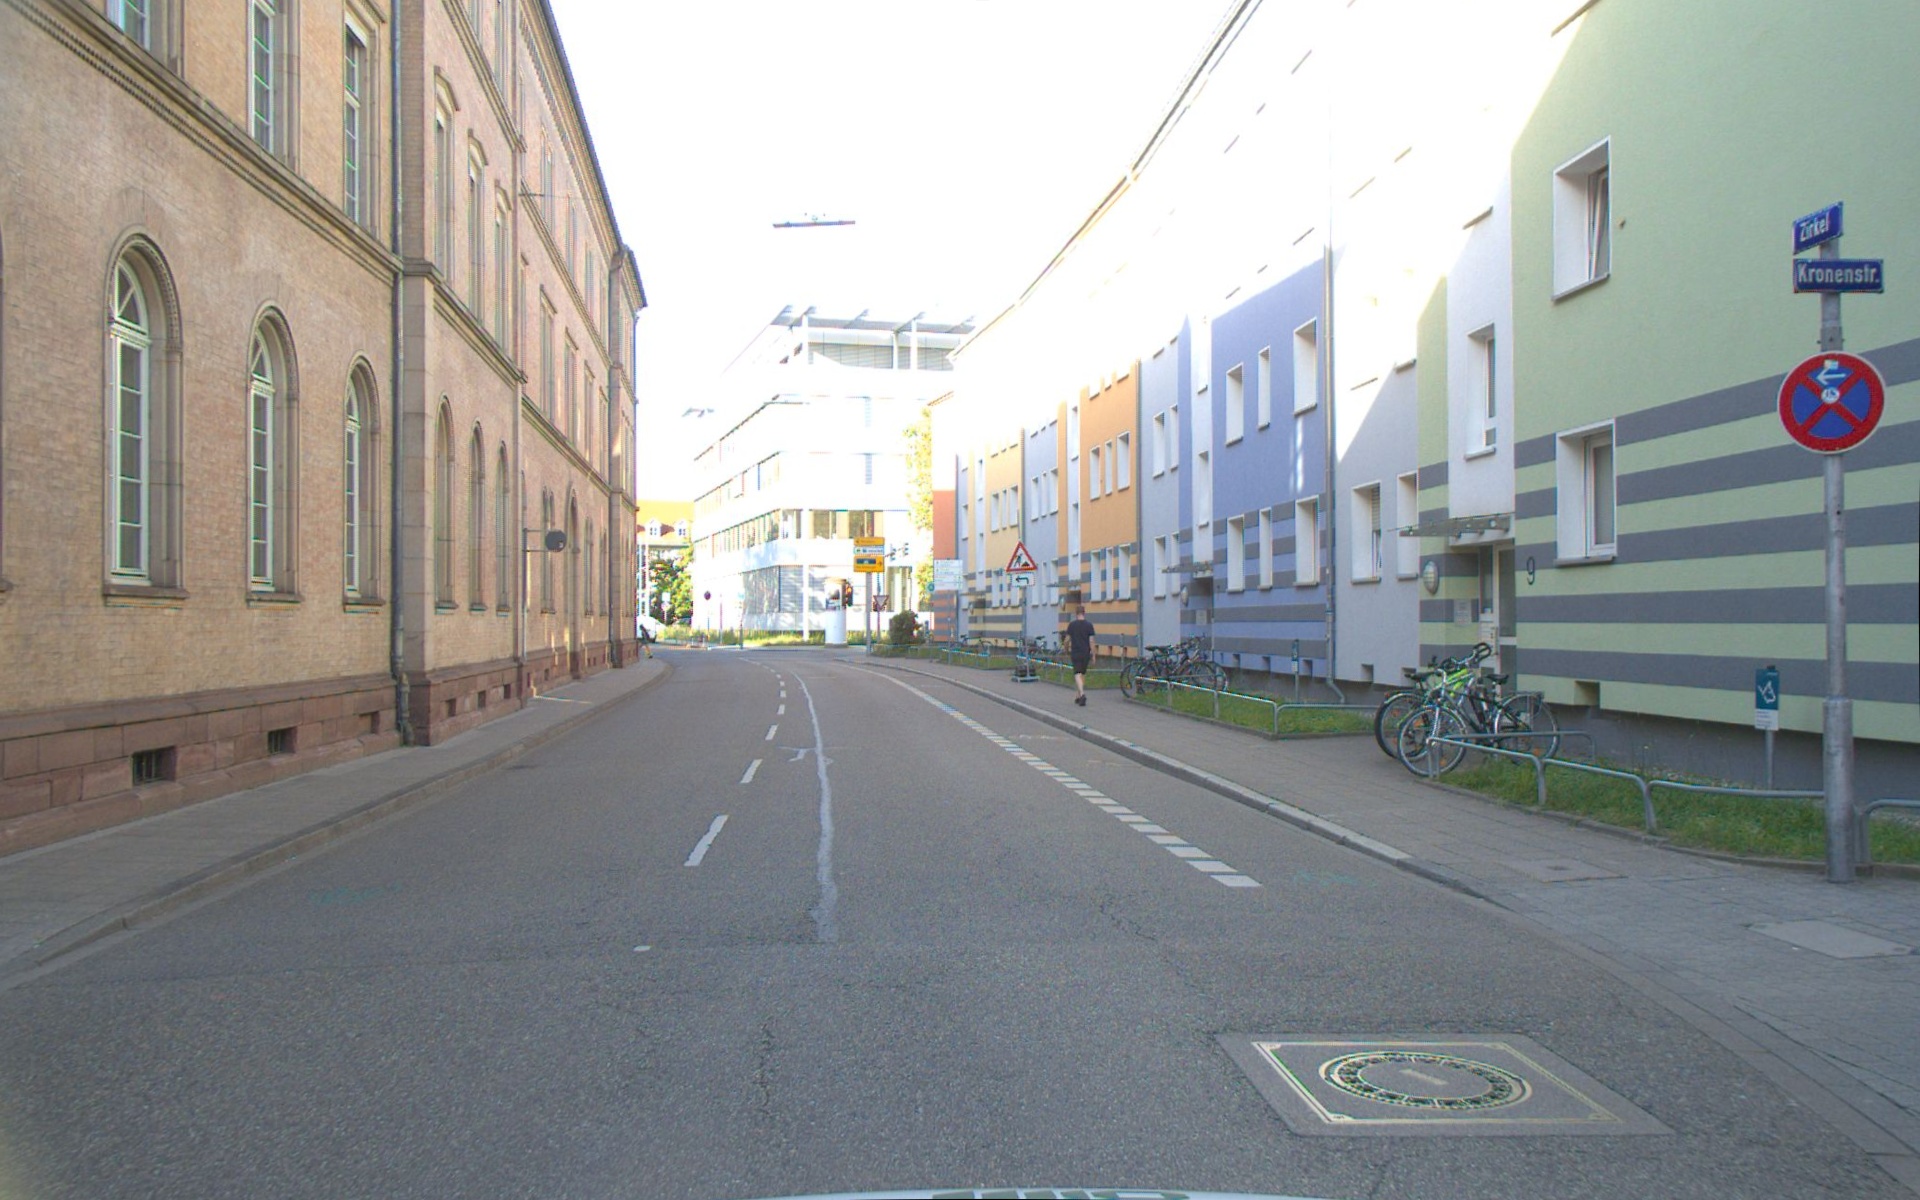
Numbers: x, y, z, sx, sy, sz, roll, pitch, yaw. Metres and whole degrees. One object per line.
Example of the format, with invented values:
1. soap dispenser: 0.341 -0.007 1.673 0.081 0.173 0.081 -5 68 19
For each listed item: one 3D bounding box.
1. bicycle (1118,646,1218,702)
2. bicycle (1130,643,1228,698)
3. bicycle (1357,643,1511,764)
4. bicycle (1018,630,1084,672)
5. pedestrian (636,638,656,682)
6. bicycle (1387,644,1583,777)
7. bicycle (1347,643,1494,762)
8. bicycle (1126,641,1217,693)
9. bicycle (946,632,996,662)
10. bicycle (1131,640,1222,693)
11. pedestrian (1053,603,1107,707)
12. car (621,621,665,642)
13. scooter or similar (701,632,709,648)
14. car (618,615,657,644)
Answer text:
1. bicycle: 3.794 1.350 30.210 1.715 0.963 0.551 -1 -1 -6
2. bicycle: 4.093 1.311 30.896 1.715 0.963 0.551 -1 -1 -6
3. bicycle: 5.090 1.099 17.745 1.613 1.161 0.282 -4 0 -14
4. bicycle: 2.582 1.440 46.772 1.776 1.157 0.551 -1 -1 -8
5. pedestrian: -14.902 2.838 78.422 0.880 2.049 0.750 -1 -1 -14
6. bicycle: 5.182 1.080 16.366 1.715 1.161 0.551 -4 0 -6
7. bicycle: 5.022 1.106 18.012 1.575 1.161 0.236 -4 0 -15
8. bicycle: 4.144 1.320 32.475 1.715 0.963 0.334 -1 -1 -6
9. bicycle: 0.411 1.729 60.890 1.722 1.021 0.611 -2 -1 -11
10. bicycle: 4.192 1.283 32.042 1.714 0.963 0.325 -1 -1 -5
11. pedestrian: 2.148 0.973 29.756 0.683 1.790 1.187 -3 -1 -6
12. car: -31.486 3.105 164.271 3.943 1.949 1.901 2 -2 -29
13. scooter or similar: -16.779 2.617 108.870 0.320 1.078 1.137 0 -1 -17
14. car: -24.790 2.264 127.027 2.386 2.149 5.204 2 -2 -18
